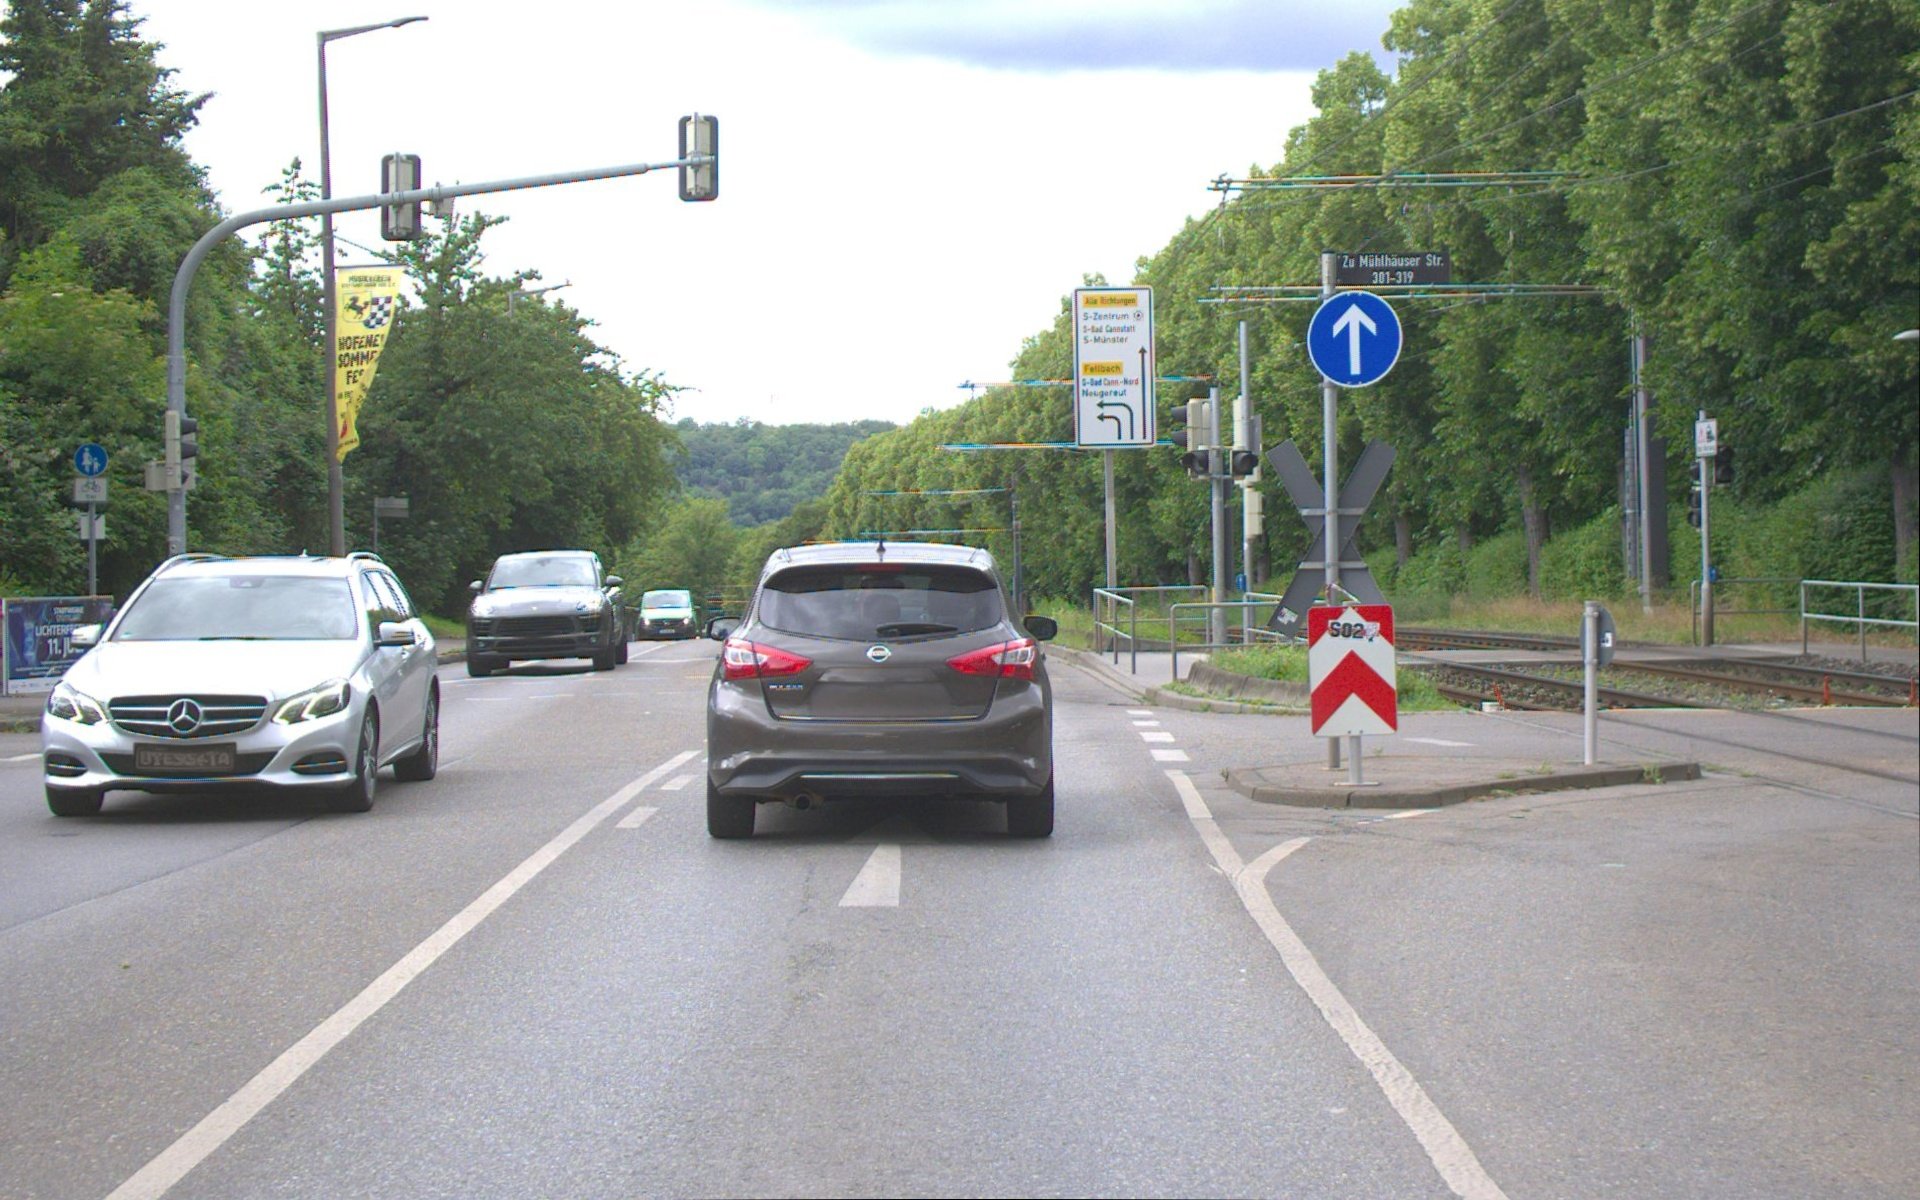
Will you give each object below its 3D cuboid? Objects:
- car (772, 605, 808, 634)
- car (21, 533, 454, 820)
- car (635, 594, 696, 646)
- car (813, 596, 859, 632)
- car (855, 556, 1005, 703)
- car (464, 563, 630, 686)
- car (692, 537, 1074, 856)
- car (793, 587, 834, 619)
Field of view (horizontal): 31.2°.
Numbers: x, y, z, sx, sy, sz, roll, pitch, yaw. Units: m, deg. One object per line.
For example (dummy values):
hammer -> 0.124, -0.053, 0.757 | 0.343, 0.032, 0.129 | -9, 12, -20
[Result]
car -> -8.520, 0.964, 172.819 | 1.741, 1.305, 4.001 | 1, 1, -2
car -> -4.360, 0.376, 21.524 | 1.818, 1.561, 5.206 | 1, 1, -2
car -> -9.757, 0.648, 114.066 | 1.785, 1.690, 4.000 | -1, 0, -2
car -> -4.907, 0.552, 135.798 | 1.741, 1.305, 4.001 | 1, 1, -2
car -> -0.327, 0.281, 37.616 | 1.538, 1.473, 3.764 | -1, 1, 0
car -> -5.567, 0.327, 46.777 | 1.901, 1.568, 4.483 | 1, 0, -3
car -> -0.389, 0.427, 18.955 | 1.835, 1.514, 4.483 | 1, 1, 0
car -> -6.475, 0.130, 152.315 | 1.741, 1.305, 4.001 | 1, 1, -2
